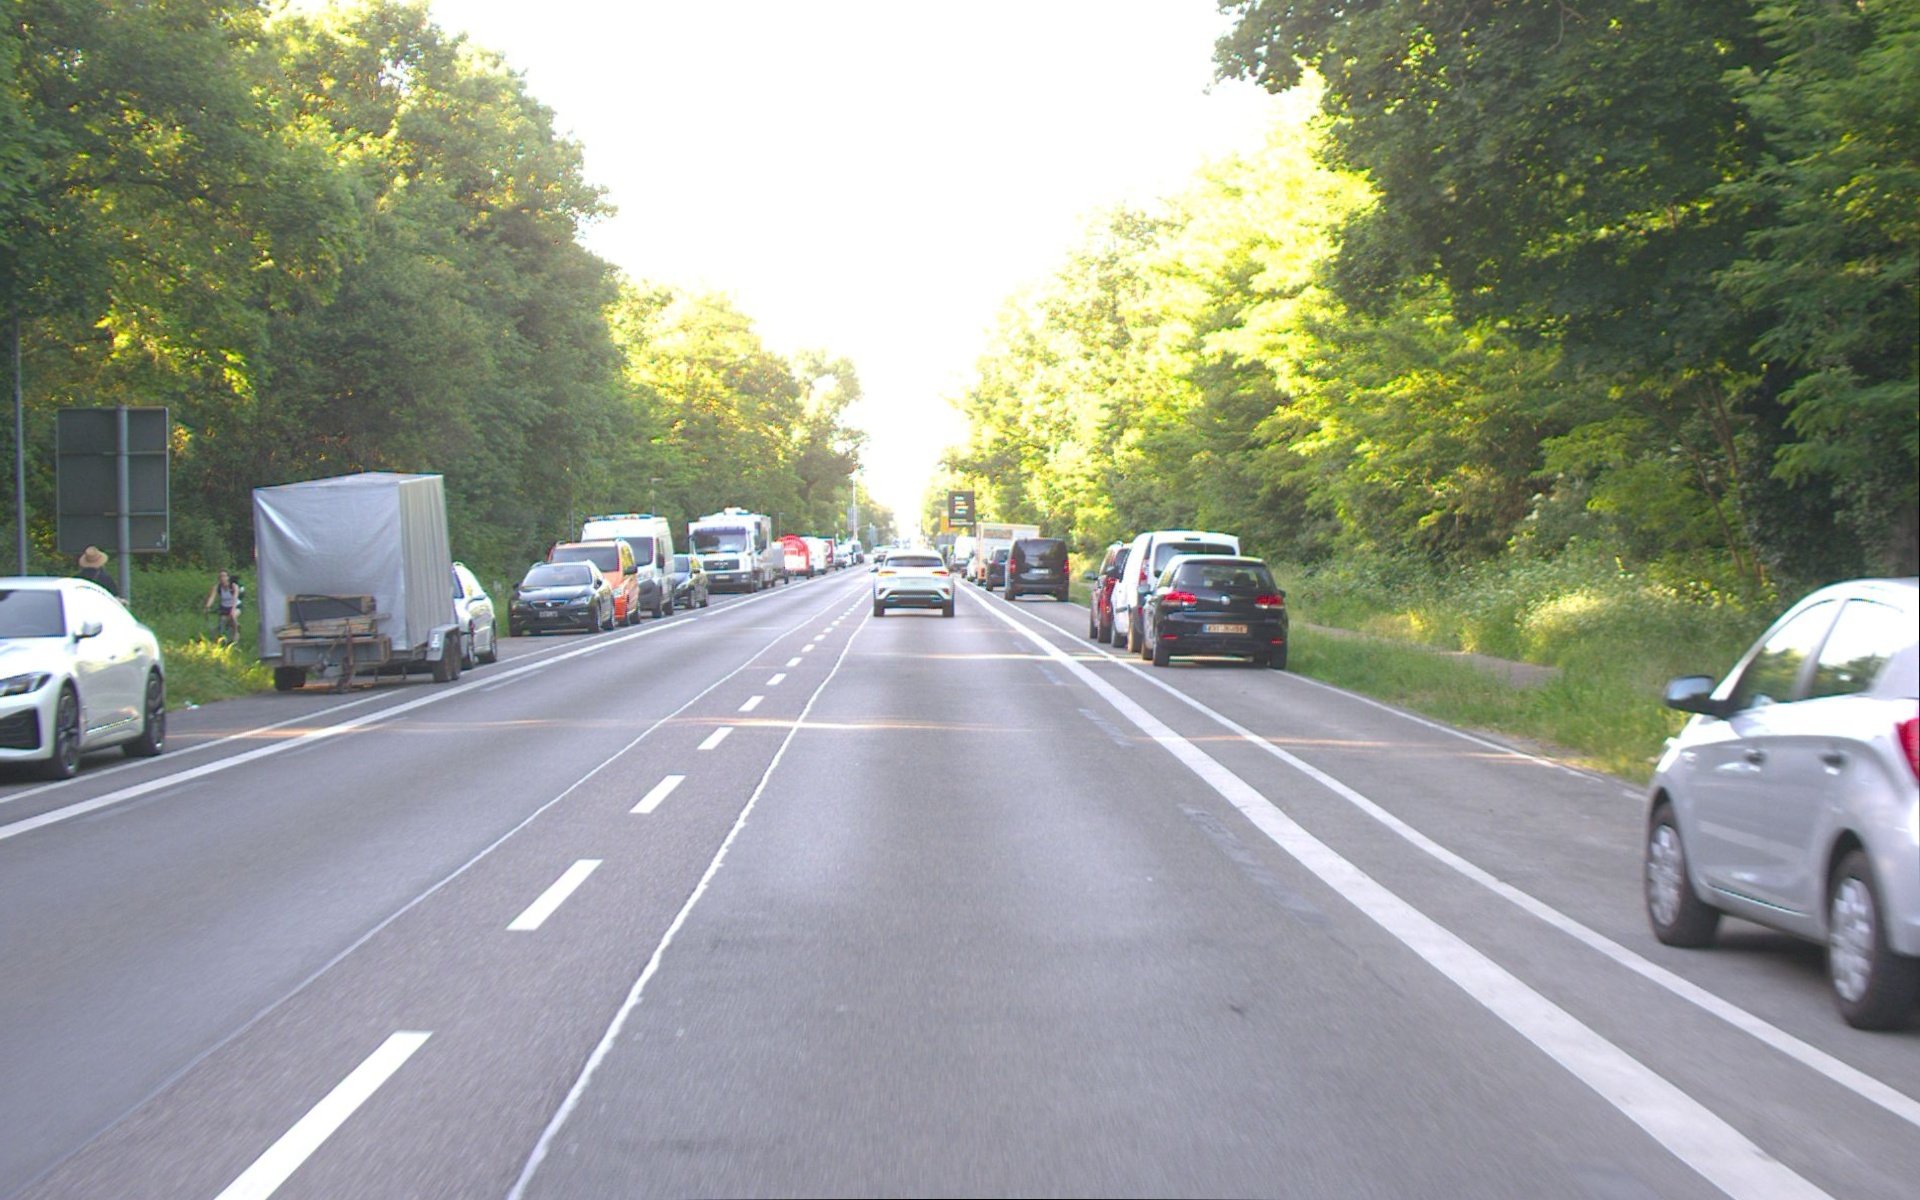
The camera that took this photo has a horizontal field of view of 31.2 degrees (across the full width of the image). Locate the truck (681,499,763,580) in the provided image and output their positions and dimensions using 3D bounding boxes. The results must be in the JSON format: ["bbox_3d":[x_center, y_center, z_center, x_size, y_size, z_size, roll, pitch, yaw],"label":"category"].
[{"bbox_3d":[-9.278,-2.363,134.658,2.707,3.083,7.989,0,1,0],"label":"truck"}]

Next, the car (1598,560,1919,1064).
[{"bbox_3d":[3.682,0.664,12.500,1.747,1.510,4.001,3,1,-3],"label":"car"}]

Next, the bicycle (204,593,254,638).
[{"bbox_3d":[-11.924,0.245,56.110,0.522,0.710,1.487,0,1,-1],"label":"bicycle"}]

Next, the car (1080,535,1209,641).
[{"bbox_3d":[3.032,-0.224,57.156,1.834,1.655,4.338,1,1,0],"label":"car"}]

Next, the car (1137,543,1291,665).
[{"bbox_3d":[3.338,0.018,45.809,1.690,1.519,4.150,1,1,0],"label":"car"}]

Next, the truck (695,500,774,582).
[{"bbox_3d":[-9.531,-2.511,146.237,2.707,3.336,10.924,0,1,0],"label":"truck"}]

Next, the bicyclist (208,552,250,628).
[{"bbox_3d":[-11.921,-0.172,56.079,0.487,1.231,0.974,0,1,0],"label":"bicyclist"}]

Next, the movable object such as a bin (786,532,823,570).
[{"bbox_3d":[-10.437,-3.307,230.717,2.322,2.493,4.000,0,1,-1],"label":"movable object such as a bin"}]

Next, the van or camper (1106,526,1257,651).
[{"bbox_3d":[3.292,-0.205,51.861,1.951,1.809,4.381,0,1,0],"label":"van or camper"}]

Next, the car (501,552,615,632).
[{"bbox_3d":[-7.983,-0.185,68.618,1.731,1.473,4.324,-2,1,0],"label":"car"}]

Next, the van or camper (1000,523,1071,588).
[{"bbox_3d":[2.291,-1.365,105.222,1.993,1.925,5.199,1,1,-1],"label":"van or camper"}]

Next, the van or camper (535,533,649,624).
[{"bbox_3d":[-8.004,-0.499,75.166,1.923,1.860,4.863,-2,1,0],"label":"van or camper"}]

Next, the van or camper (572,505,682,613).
[{"bbox_3d":[-8.300,-1.043,86.318,2.121,2.563,6.542,-1,1,0],"label":"van or camper"}]

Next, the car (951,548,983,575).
[{"bbox_3d":[0.364,-2.107,187.255,1.656,1.473,3.754,0,1,-1],"label":"car"}]

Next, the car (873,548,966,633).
[{"bbox_3d":[-0.913,-0.241,77.876,2.028,1.834,4.029,-1,1,0],"label":"car"}]

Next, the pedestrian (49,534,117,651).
[{"bbox_3d":[-12.107,-0.107,47.461,0.758,1.601,0.716,0,1,0],"label":"pedestrian"}]

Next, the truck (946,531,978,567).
[{"bbox_3d":[0.129,-3.591,241.418,2.096,2.444,5.680,0,1,-1],"label":"truck"}]

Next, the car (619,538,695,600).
[{"bbox_3d":[-8.634,-0.892,98.259,1.781,1.678,4.378,-2,1,0],"label":"car"}]

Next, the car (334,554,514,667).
[{"bbox_3d":[-7.448,0.104,48.140,1.797,1.448,4.625,-1,1,0],"label":"car"}]

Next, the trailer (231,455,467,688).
[{"bbox_3d":[-7.322,-0.362,41.645,1.993,2.588,4.416,-3,1,0],"label":"trailer"}]

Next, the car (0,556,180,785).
[{"bbox_3d":[-7.242,0.483,25.779,1.774,1.535,4.525,-2,1,-1],"label":"car"}]

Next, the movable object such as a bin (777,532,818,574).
[{"bbox_3d":[-9.827,-2.842,207.995,2.322,2.493,4.000,0,1,-1],"label":"movable object such as a bin"}]

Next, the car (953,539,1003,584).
[{"bbox_3d":[0.647,-1.449,128.647,1.841,1.656,4.000,0,1,0],"label":"car"}]

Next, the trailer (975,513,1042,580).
[{"bbox_3d":[2.100,-2.344,150.541,2.757,2.860,6.589,0,1,-1],"label":"trailer"}]

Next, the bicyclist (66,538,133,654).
[{"bbox_3d":[-10.246,-0.056,40.960,0.604,1.369,0.799,0,1,0],"label":"bicyclist"}]

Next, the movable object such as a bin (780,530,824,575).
[{"bbox_3d":[-8.878,-2.666,193.737,2.322,2.493,4.000,0,1,-1],"label":"movable object such as a bin"}]
